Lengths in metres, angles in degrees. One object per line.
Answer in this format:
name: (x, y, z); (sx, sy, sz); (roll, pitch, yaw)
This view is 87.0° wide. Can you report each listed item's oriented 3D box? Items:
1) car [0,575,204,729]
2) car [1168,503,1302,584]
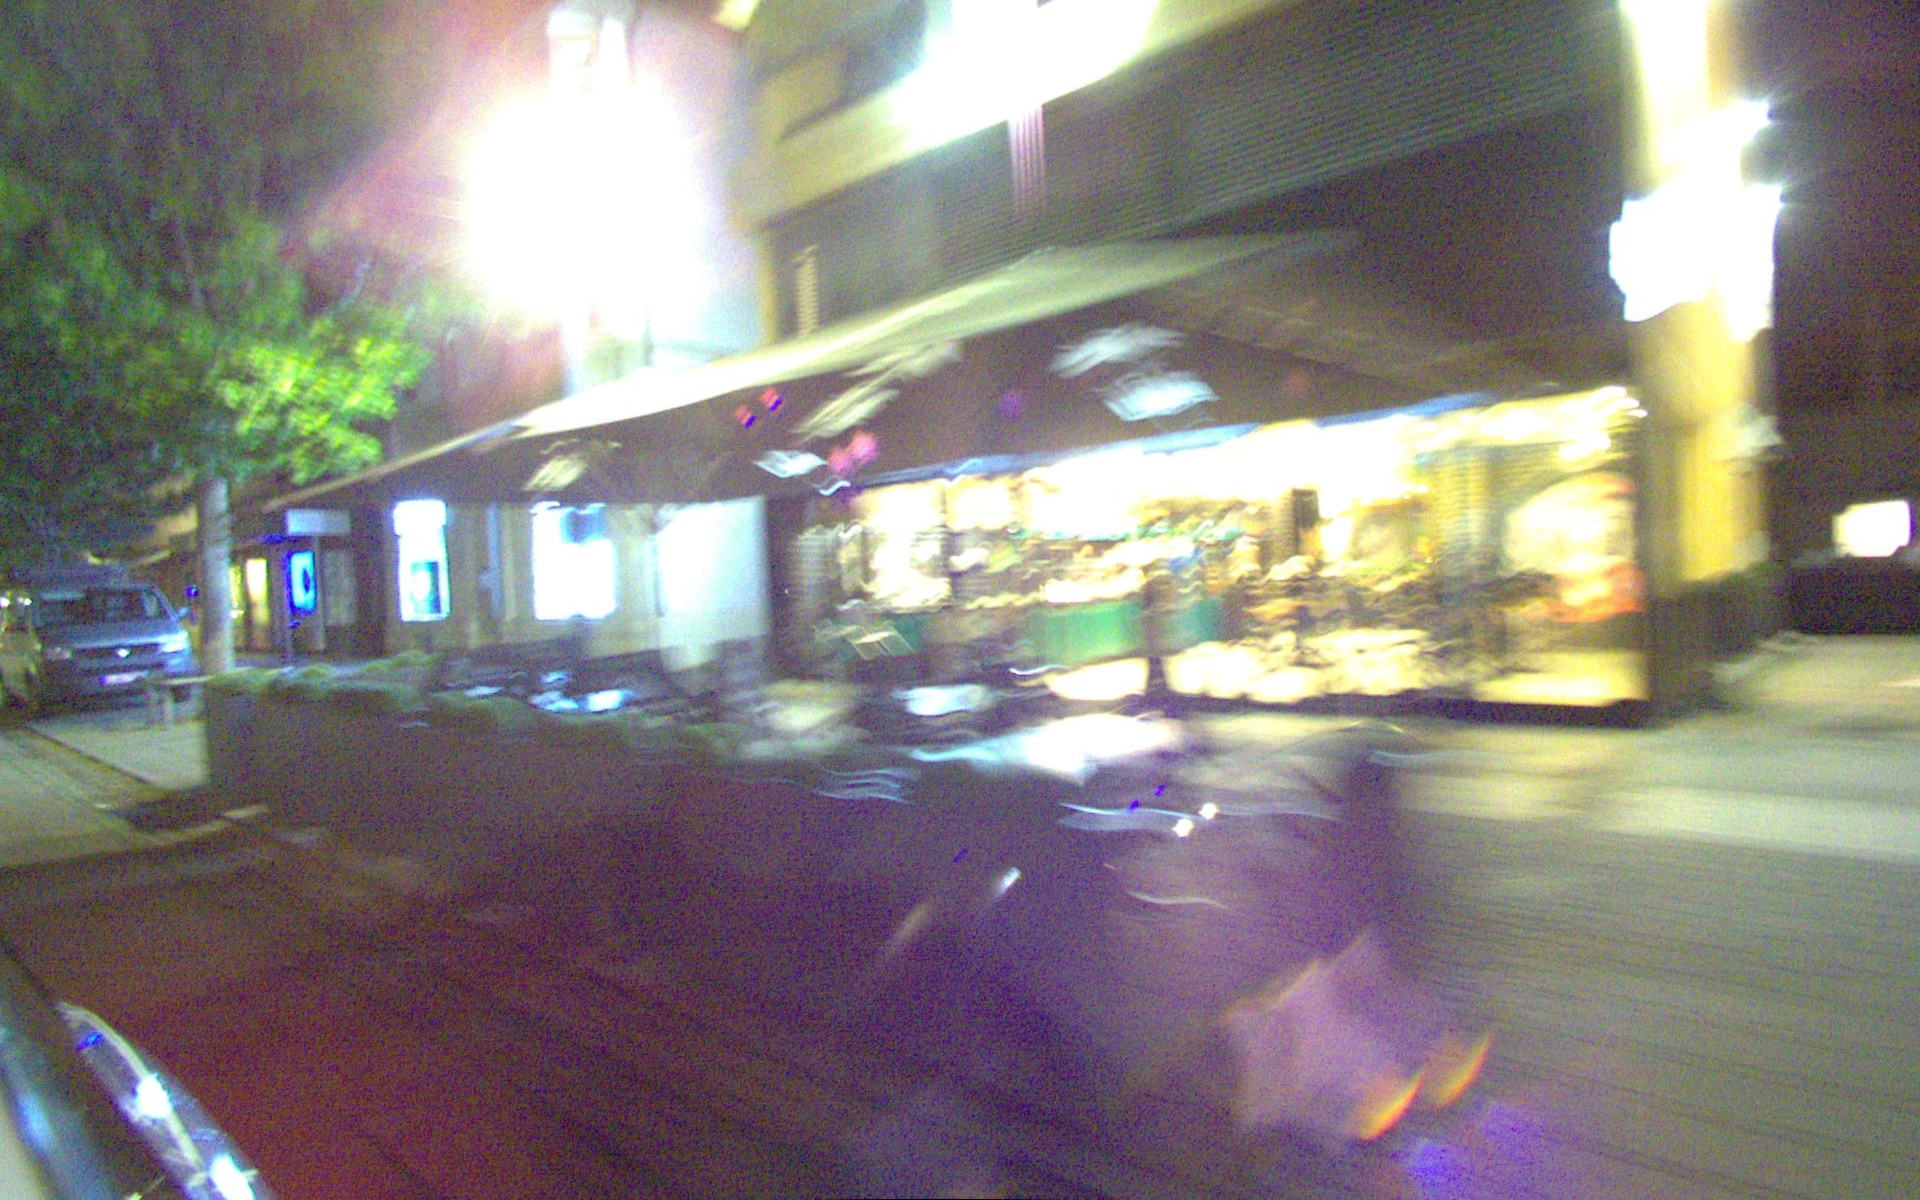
car: (-13.855, 0.745, 15.972); (5.073, 1.979, 1.906); (-2, 3, 41)
car: (7.664, -1.529, 28.041); (1.999, 2.029, 3.945); (-2, 1, 41)
